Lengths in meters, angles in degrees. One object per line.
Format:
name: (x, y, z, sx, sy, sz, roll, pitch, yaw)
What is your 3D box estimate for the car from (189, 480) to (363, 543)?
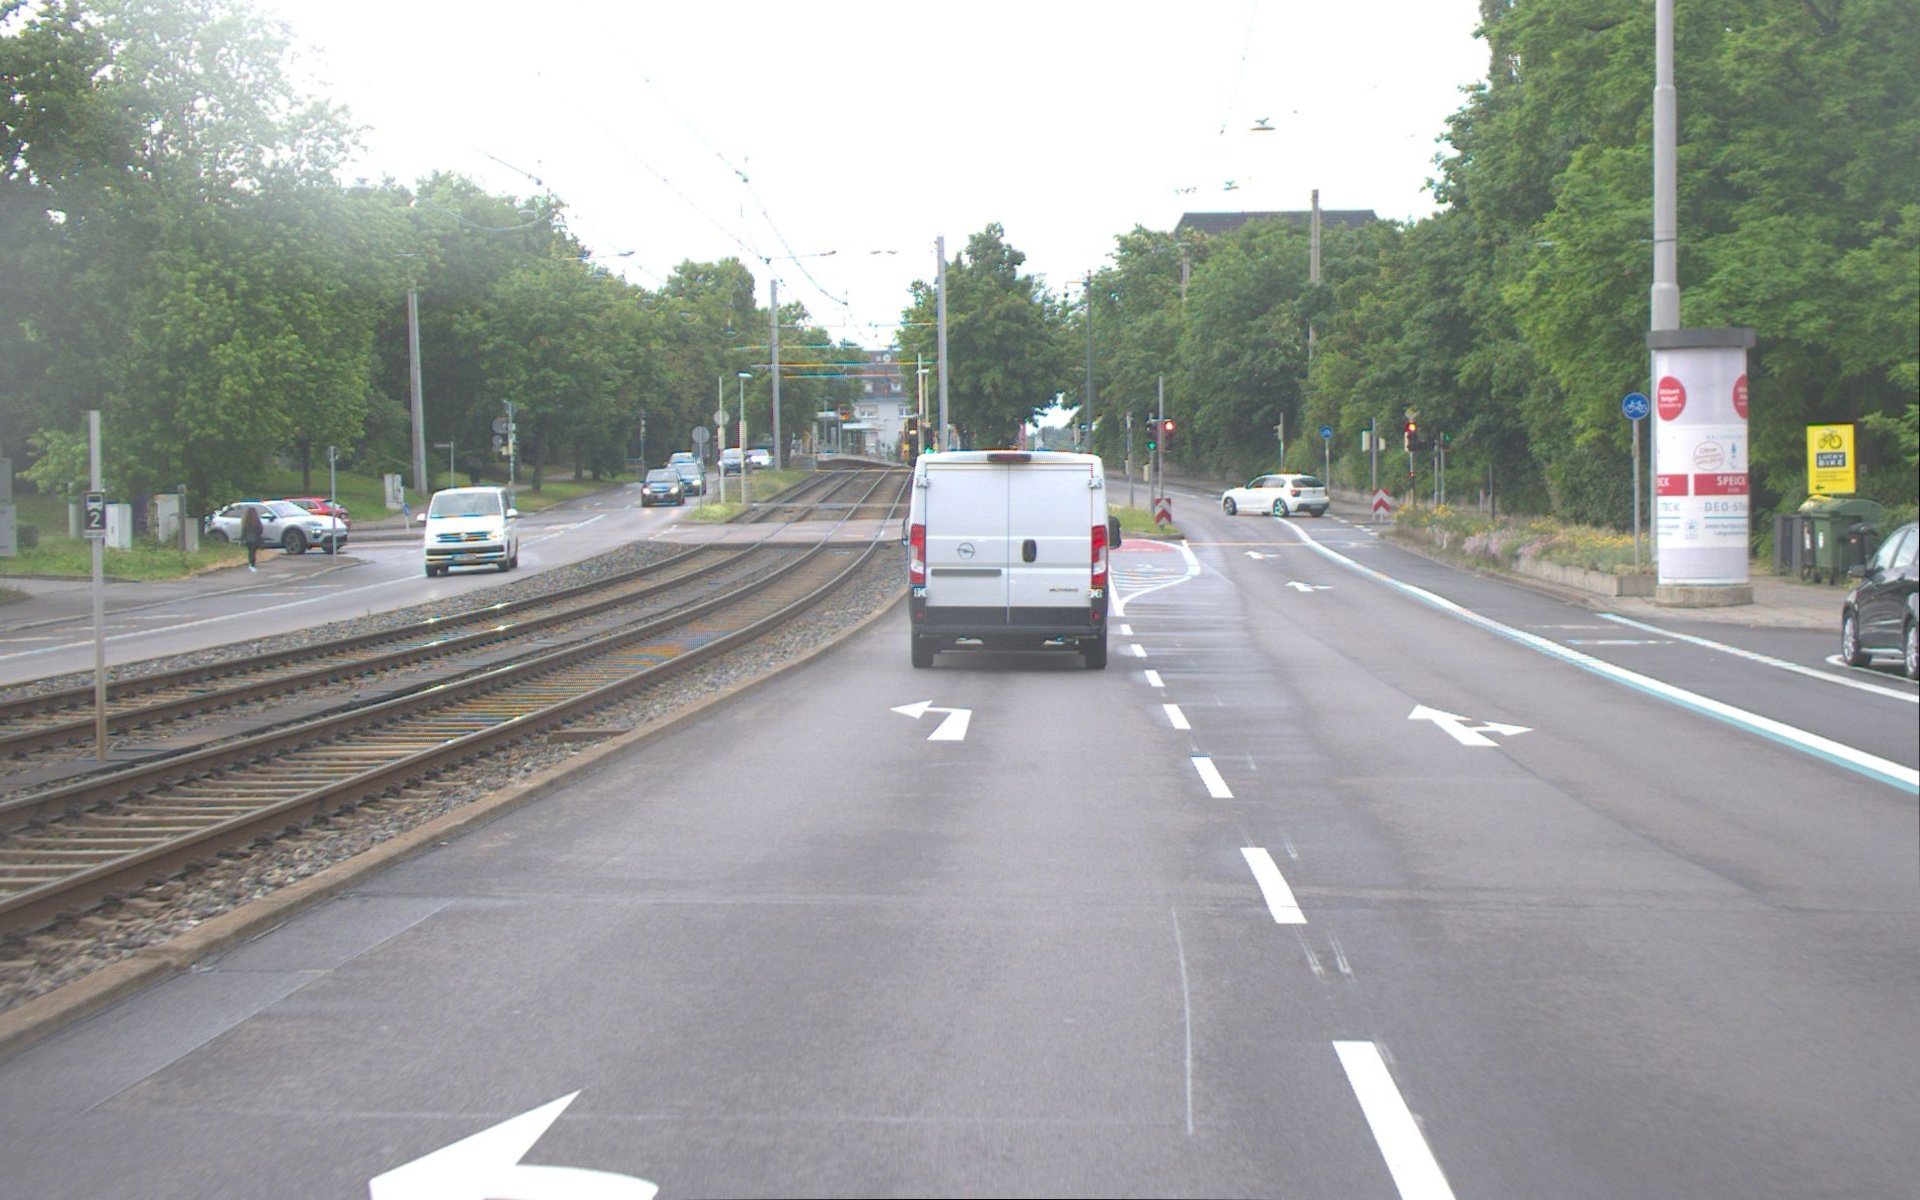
car: (-20.606, -2.666, 103.546, 4.749, 1.643, 1.998, -2, 2, 22)

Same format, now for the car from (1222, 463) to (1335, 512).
car: (10.747, -3.816, 116.173, 1.703, 1.516, 3.791, -2, 4, -36)

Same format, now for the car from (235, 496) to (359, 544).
car: (-22.126, -2.675, 114.847, 3.964, 1.528, 1.843, 1, 1, -9)

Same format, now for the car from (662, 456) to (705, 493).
car: (-12.359, -5.616, 153.830, 1.601, 1.397, 3.791, -2, -1, -1)

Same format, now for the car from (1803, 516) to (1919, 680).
car: (10.005, -0.063, 34.977, 1.837, 1.528, 4.439, 1, 2, 1)

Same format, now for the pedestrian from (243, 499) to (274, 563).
pedestrian: (-16.886, -1.670, 82.781, 0.591, 1.526, 0.668, 1, 0, 0)

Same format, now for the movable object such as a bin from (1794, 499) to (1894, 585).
movable object such as a bin: (14.907, -0.978, 58.013, 1.311, 1.413, 1.300, 1, 0, -1)

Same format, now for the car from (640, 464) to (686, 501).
car: (-12.204, -4.848, 141.270, 1.601, 1.397, 3.792, 1, 3, -1)

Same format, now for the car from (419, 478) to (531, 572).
car: (-11.219, -1.773, 79.816, 1.993, 2.006, 5.061, -3, 2, -3)

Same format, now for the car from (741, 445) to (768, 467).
car: (-13.531, -9.520, 226.788, 1.601, 1.397, 3.792, 1, 3, -1)

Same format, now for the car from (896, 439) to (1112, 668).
car: (0.451, -0.547, 36.795, 2.146, 2.275, 5.063, 0, 2, 0)

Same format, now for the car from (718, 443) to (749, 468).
car: (-13.568, -8.675, 206.078, 1.601, 1.397, 3.792, 1, 3, -1)

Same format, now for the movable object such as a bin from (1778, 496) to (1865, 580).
movable object such as a bin: (14.909, -1.069, 59.514, 1.184, 1.413, 1.135, 1, 0, -1)
